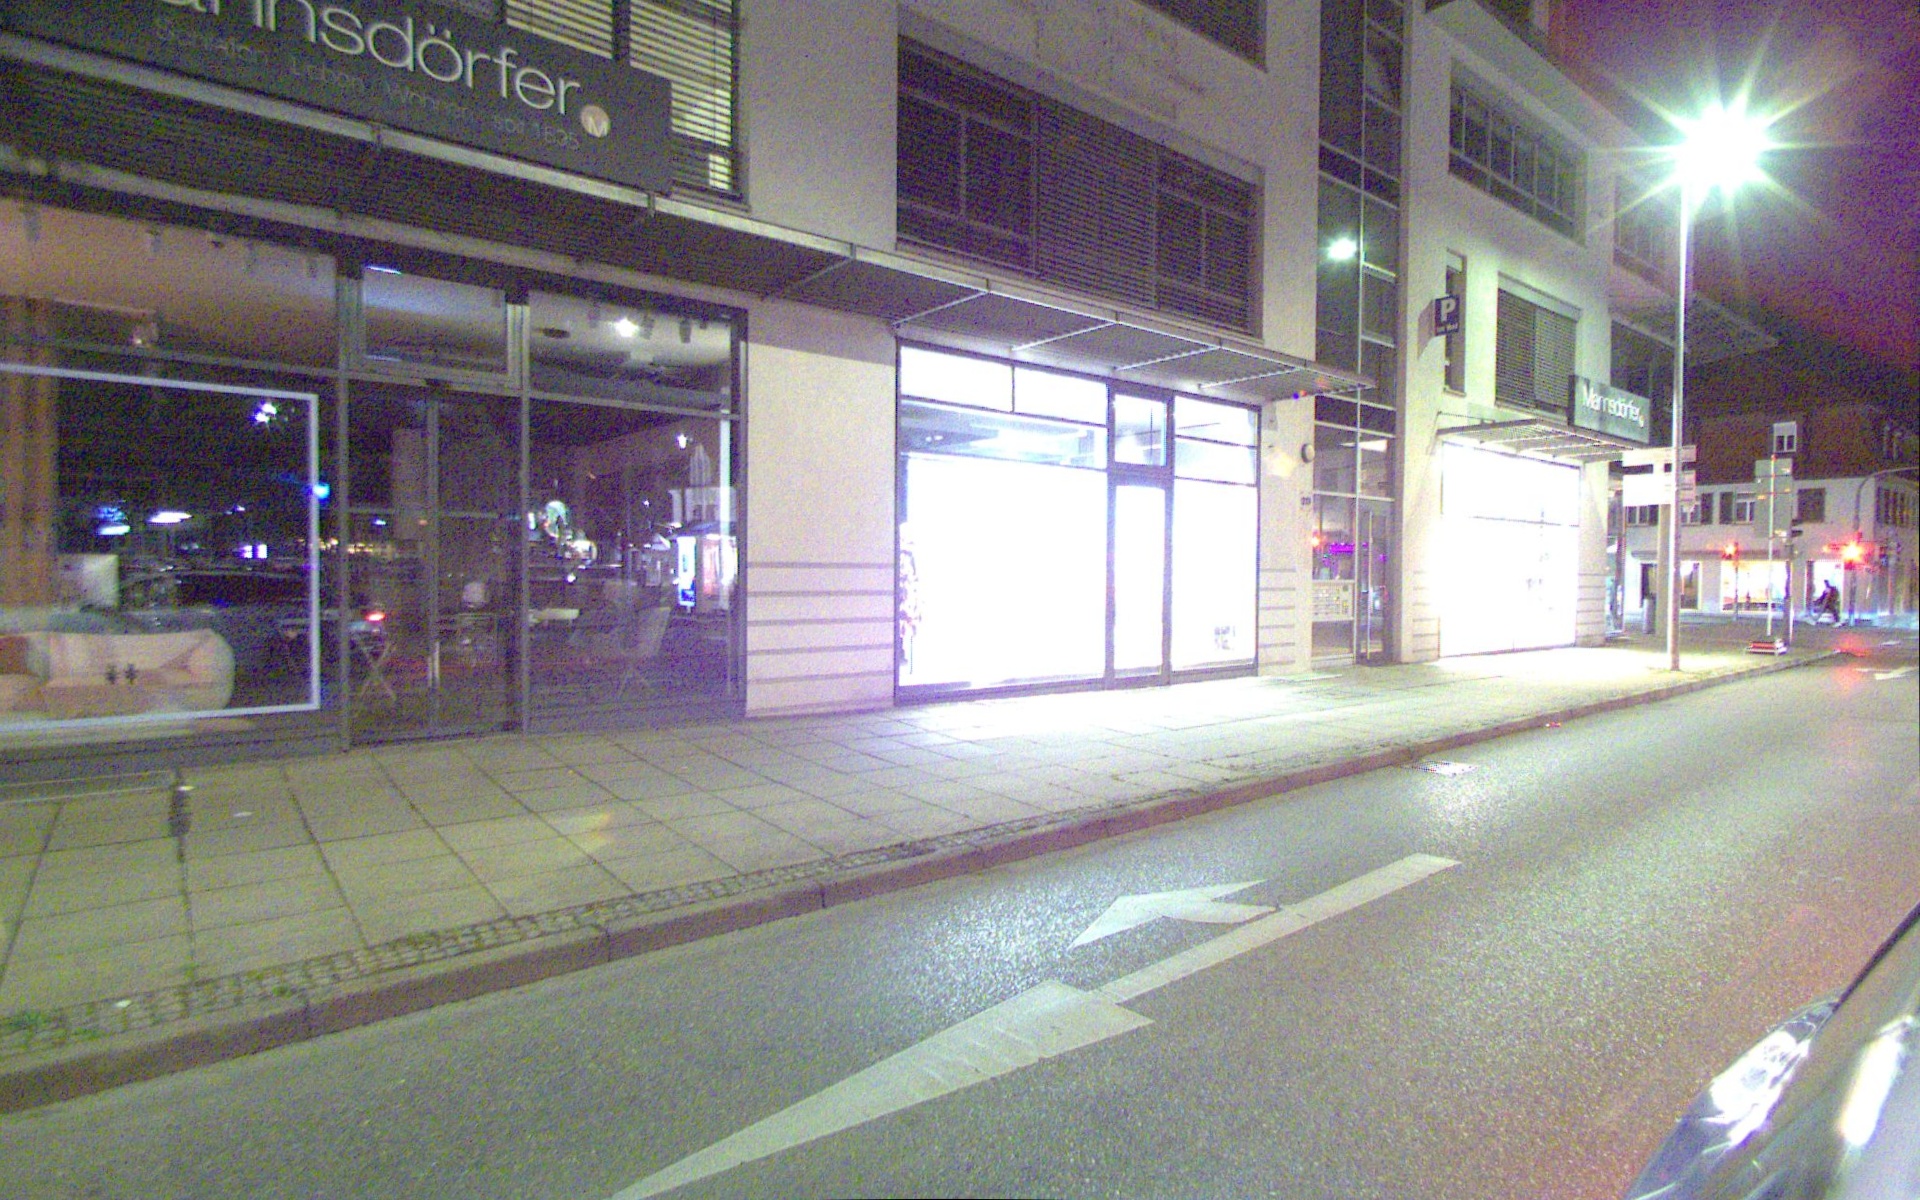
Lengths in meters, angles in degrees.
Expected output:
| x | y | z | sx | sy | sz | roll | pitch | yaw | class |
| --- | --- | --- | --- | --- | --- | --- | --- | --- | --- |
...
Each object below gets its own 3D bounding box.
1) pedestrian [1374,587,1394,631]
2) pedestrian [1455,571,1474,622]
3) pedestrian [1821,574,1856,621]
| x | y | z | sx | sy | sz | roll | pitch | yaw | class |
| --- | --- | --- | --- | --- | --- | --- | --- | --- | --- |
| 17.282 | 0.361 | 41.260 | 0.556 | 1.738 | 0.524 | 0 | 0 | -39 | pedestrian |
| 17.178 | -0.114 | 34.440 | 0.478 | 1.708 | 0.407 | 0 | 0 | -36 | pedestrian |
| 33.639 | -0.106 | 38.749 | 0.635 | 1.755 | 0.877 | 0 | 2 | -37 | pedestrian |
